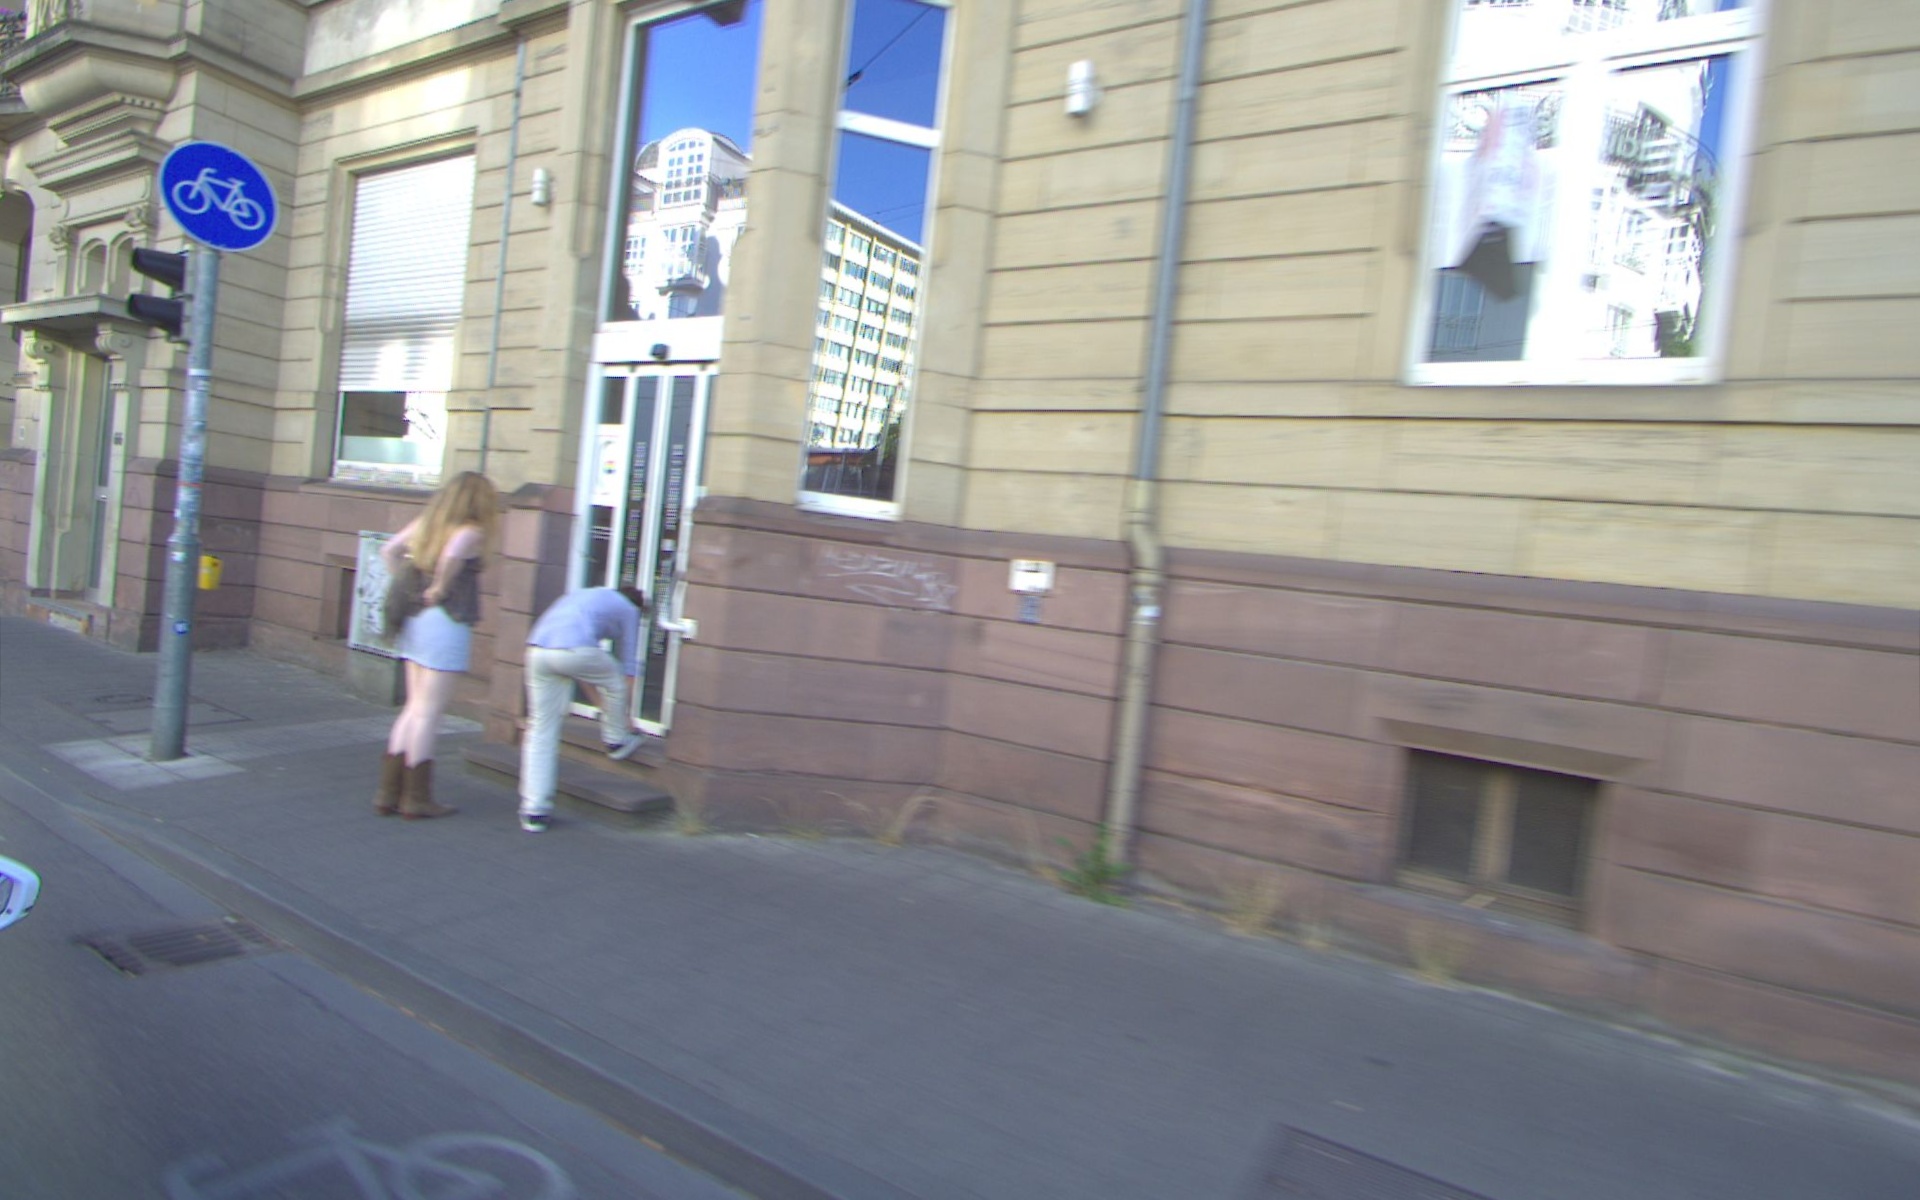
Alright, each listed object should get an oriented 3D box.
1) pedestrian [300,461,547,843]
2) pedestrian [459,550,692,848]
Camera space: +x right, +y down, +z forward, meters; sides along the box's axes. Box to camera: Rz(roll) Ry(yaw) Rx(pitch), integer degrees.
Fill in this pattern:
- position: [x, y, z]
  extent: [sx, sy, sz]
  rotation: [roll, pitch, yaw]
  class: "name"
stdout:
- position: [-2.722, 0.228, 5.131]
  extent: [0.707, 1.745, 0.794]
  rotation: [7, 4, 30]
  class: "pedestrian"
- position: [-1.980, 0.464, 5.210]
  extent: [0.707, 1.350, 0.794]
  rotation: [7, 4, 30]
  class: "pedestrian"
